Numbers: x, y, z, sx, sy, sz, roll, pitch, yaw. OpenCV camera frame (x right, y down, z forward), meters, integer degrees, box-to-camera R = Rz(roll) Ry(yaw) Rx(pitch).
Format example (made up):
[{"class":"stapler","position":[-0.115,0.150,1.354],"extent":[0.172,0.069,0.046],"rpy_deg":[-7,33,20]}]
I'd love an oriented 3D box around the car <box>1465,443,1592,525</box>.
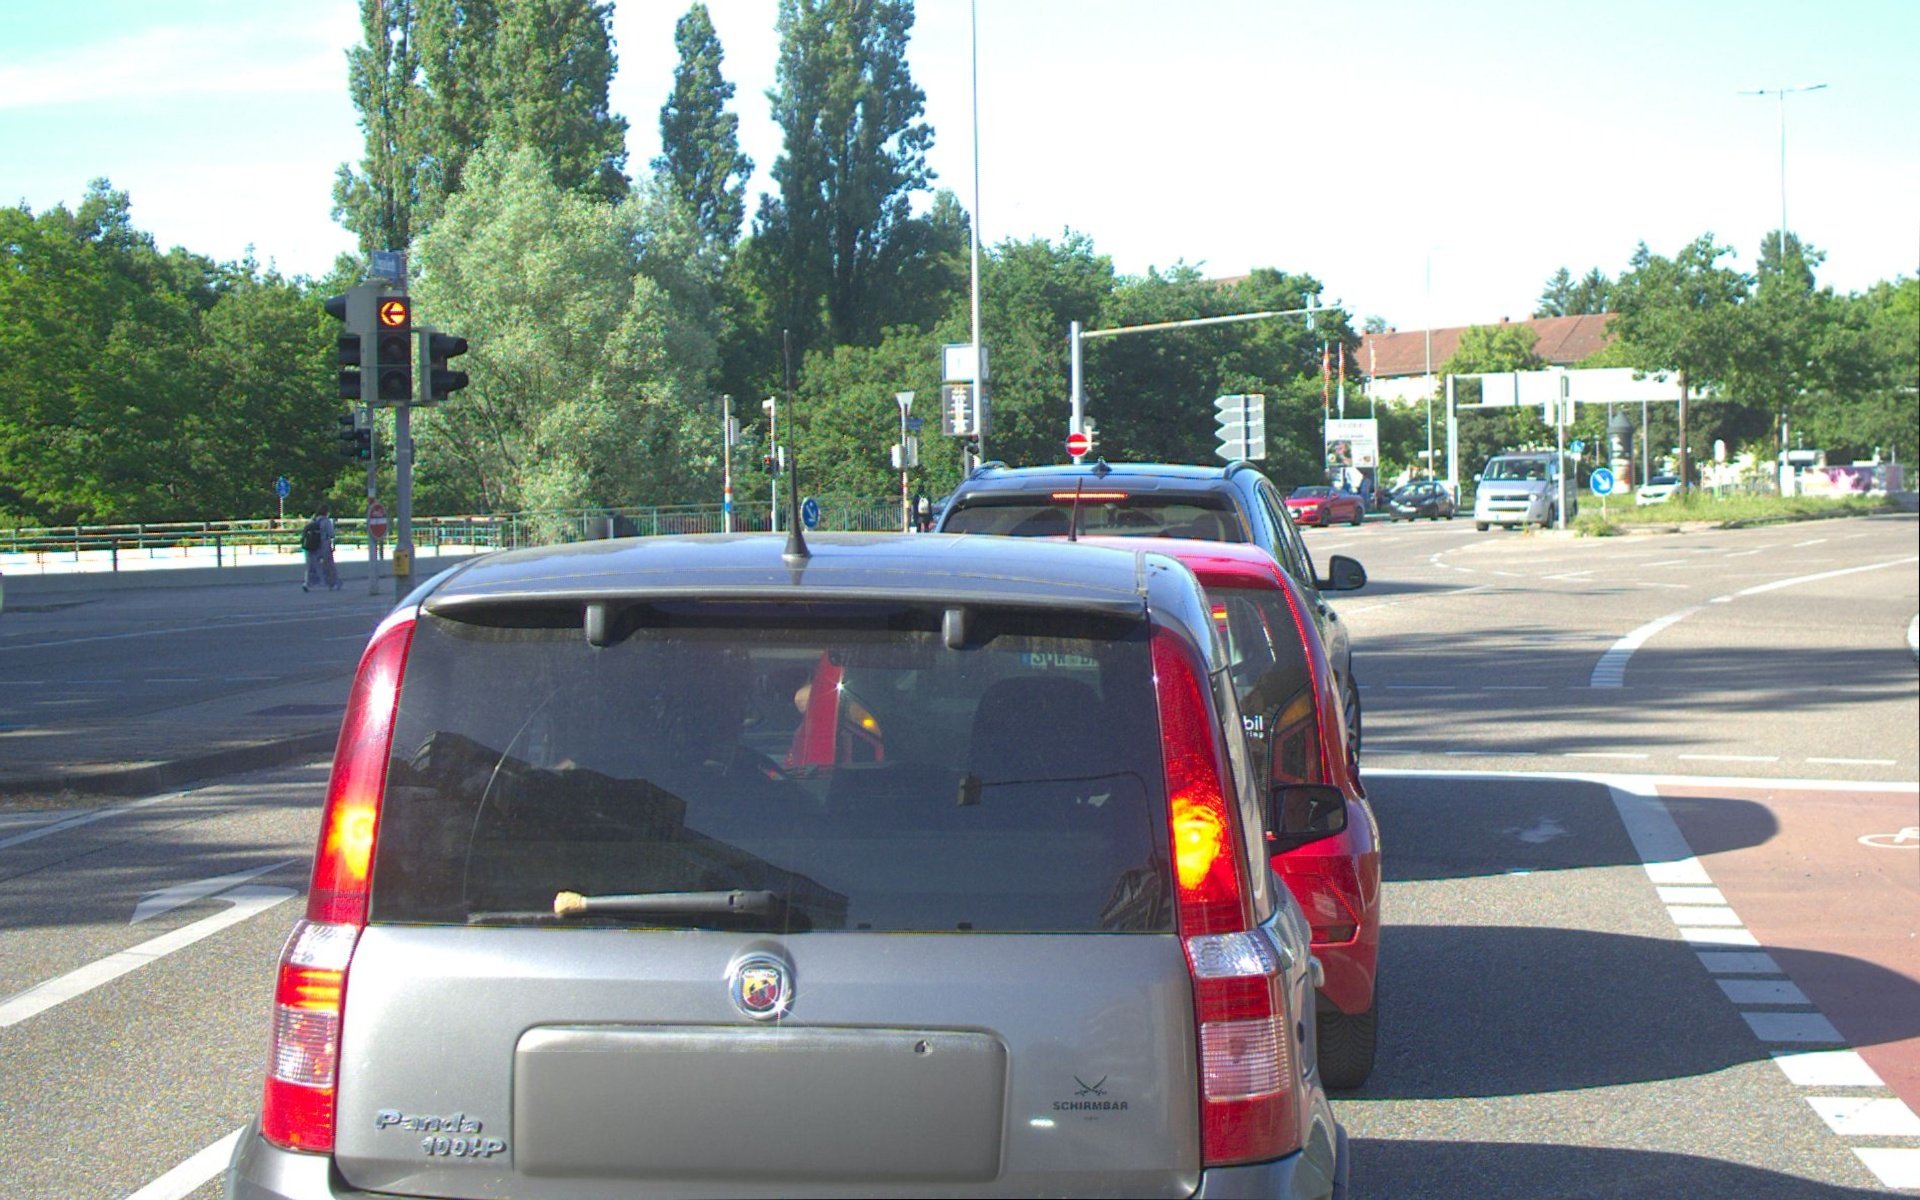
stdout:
[{"class":"car","position":[14.442,-2.915,87.172],"extent":[2.015,1.848,4.880],"rpy_deg":[0,-1,24]}]

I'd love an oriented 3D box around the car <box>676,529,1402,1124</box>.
[{"class":"car","position":[0.275,0.531,10.706],"extent":[1.820,1.474,4.000],"rpy_deg":[1,1,2]}]

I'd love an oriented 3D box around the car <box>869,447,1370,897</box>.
[{"class":"car","position":[0.892,0.211,16.081],"extent":[1.869,1.784,4.413],"rpy_deg":[1,2,9]}]

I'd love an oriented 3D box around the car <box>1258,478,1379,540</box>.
[{"class":"car","position":[11.844,-2.982,113.400],"extent":[2.016,1.848,4.877],"rpy_deg":[0,-1,32]}]

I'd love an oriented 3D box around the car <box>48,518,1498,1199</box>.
[{"class":"car","position":[-0.149,0.623,6.350],"extent":[1.820,1.484,4.000],"rpy_deg":[2,2,3]}]

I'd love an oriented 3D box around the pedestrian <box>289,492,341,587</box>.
[{"class":"pedestrian","position":[-11.090,-1.027,59.122],"extent":[0.686,1.533,1.366],"rpy_deg":[0,-3,-3]}]
